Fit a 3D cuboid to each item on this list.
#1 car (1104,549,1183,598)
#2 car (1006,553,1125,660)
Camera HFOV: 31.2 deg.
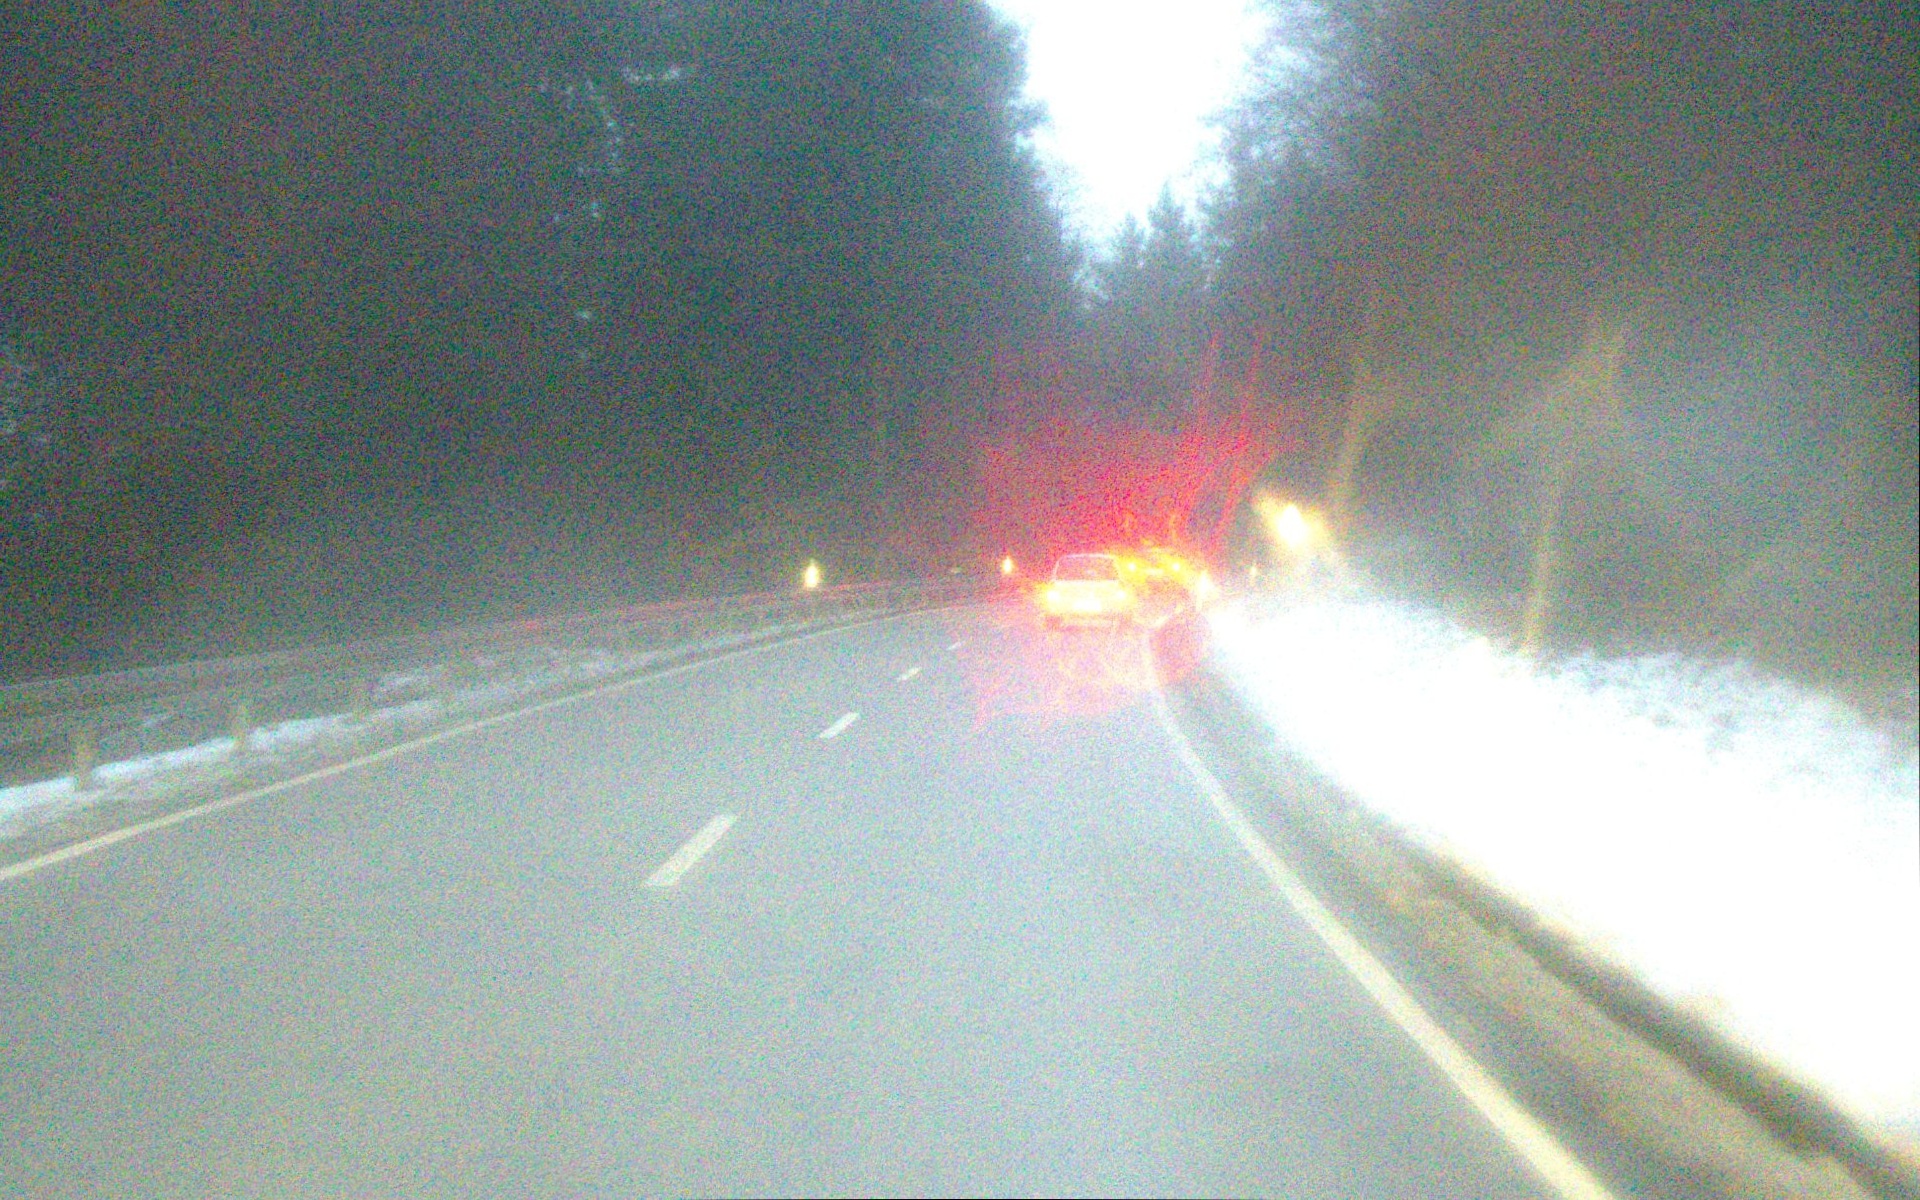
[{"bbox_3d":[5.374,-0.799,101.249,1.993,1.305,4.000,-3,1,-1],"label":"car"},{"bbox_3d":[1.972,0.096,65.240,1.993,1.866,4.000,-3,1,-1],"label":"car"}]
